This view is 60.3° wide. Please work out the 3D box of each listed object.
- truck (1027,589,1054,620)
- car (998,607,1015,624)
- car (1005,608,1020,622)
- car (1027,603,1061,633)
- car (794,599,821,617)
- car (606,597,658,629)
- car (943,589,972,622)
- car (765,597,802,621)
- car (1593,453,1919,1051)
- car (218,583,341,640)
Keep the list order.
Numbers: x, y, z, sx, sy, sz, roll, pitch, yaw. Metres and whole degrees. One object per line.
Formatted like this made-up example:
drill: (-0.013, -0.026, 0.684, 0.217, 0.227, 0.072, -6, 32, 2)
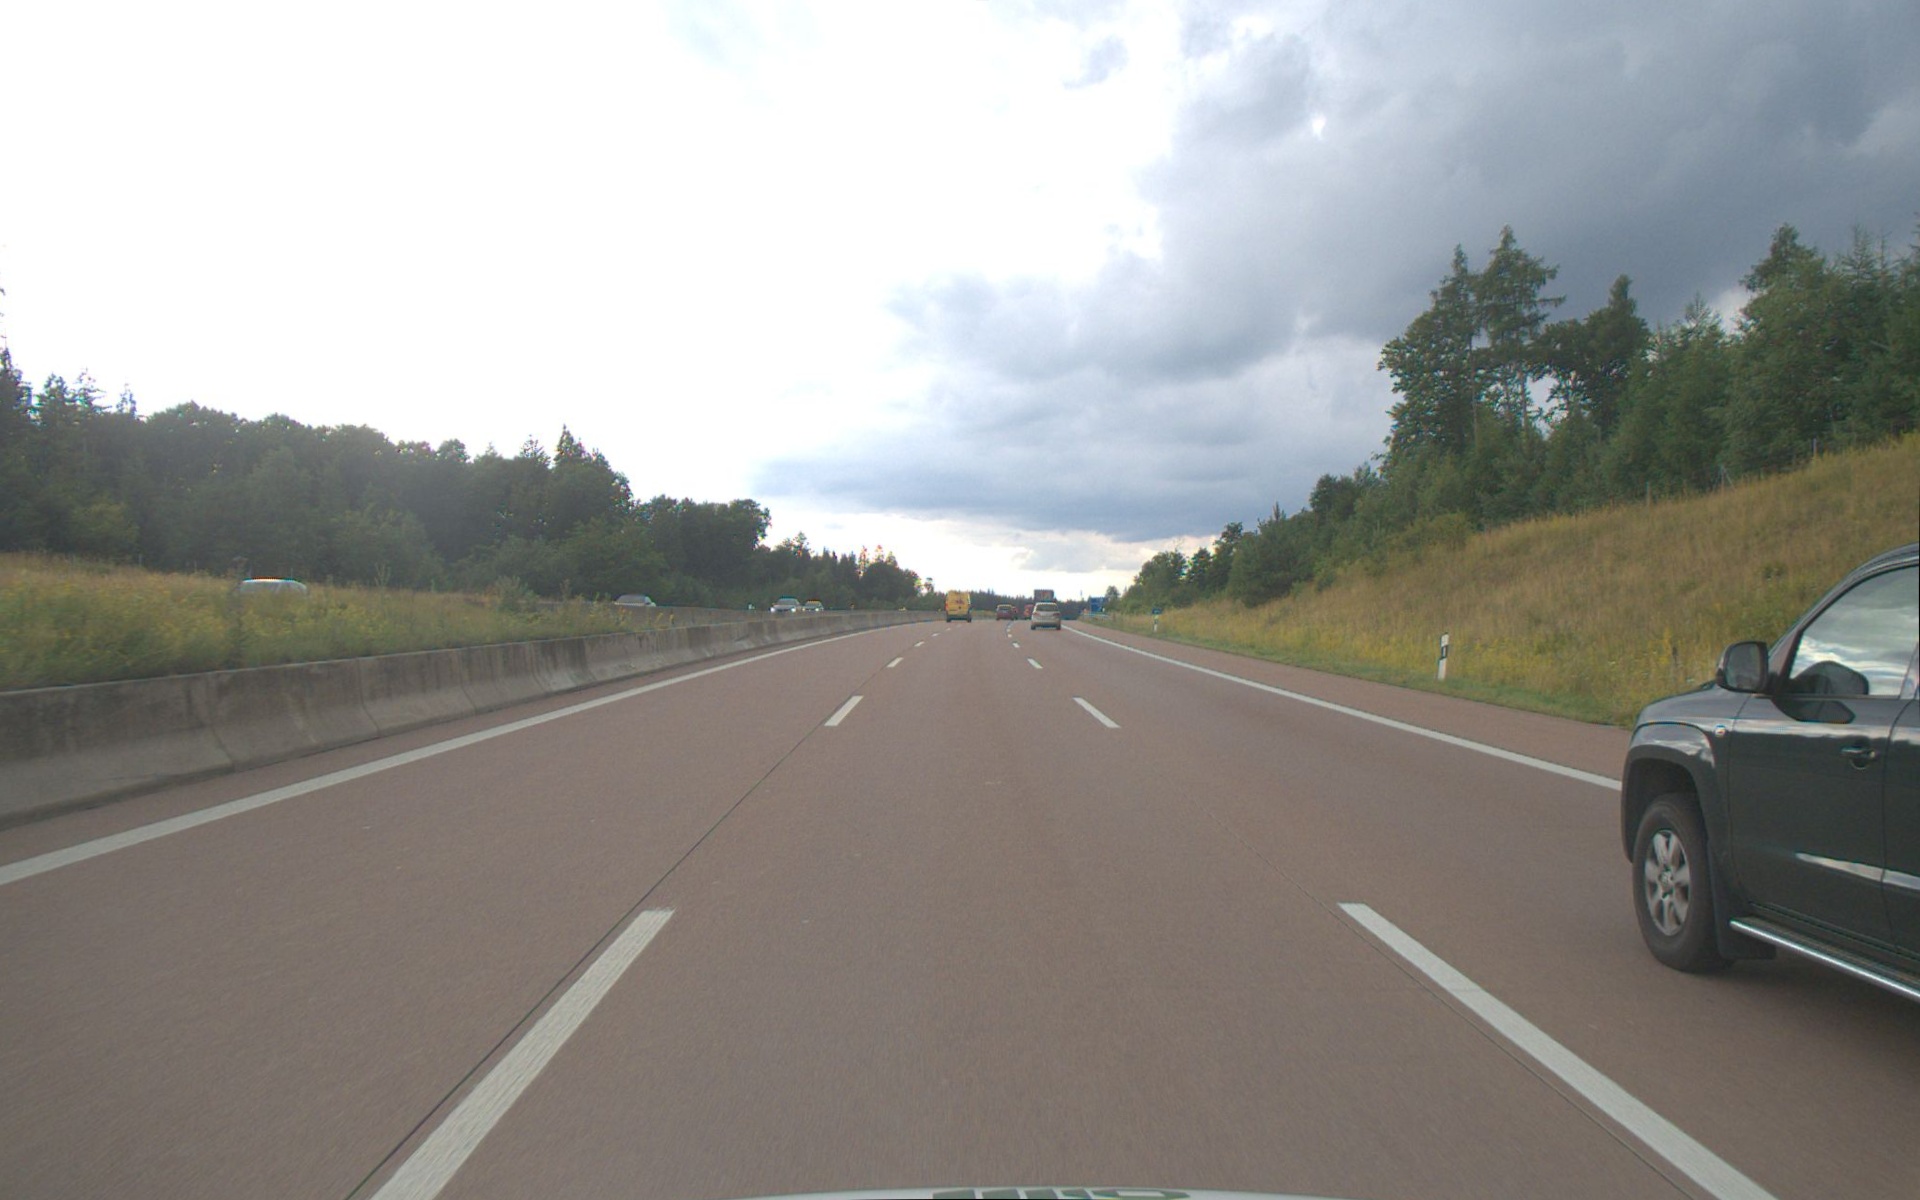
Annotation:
truck: (11.227, 0.688, 230.286, 3.604, 3.981, 12.819, 1, -1, 2)
car: (5.021, 1.709, 178.188, 1.848, 1.795, 4.782, 0, -1, 1)
car: (6.817, 1.993, 213.815, 1.848, 1.795, 4.999, 0, -1, 2)
car: (5.028, 1.062, 98.373, 1.936, 1.677, 4.621, 1, 0, 3)
car: (-14.389, 0.762, 156.275, 1.889, 1.514, 4.424, 1, -1, 2)
car: (-16.647, 0.674, 84.116, 1.696, 1.552, 4.412, 1, -1, 1)
car: (-0.186, 0.471, 143.074, 2.408, 2.754, 5.614, 0, -1, 1)
car: (-12.267, 0.637, 115.331, 1.696, 1.552, 4.247, 1, -1, 6)
car: (4.104, 0.489, 5.225, 2.002, 1.930, 5.576, 0, -1, -1)
car: (-19.952, 0.375, 48.710, 1.696, 1.552, 4.412, 1, -1, 1)
